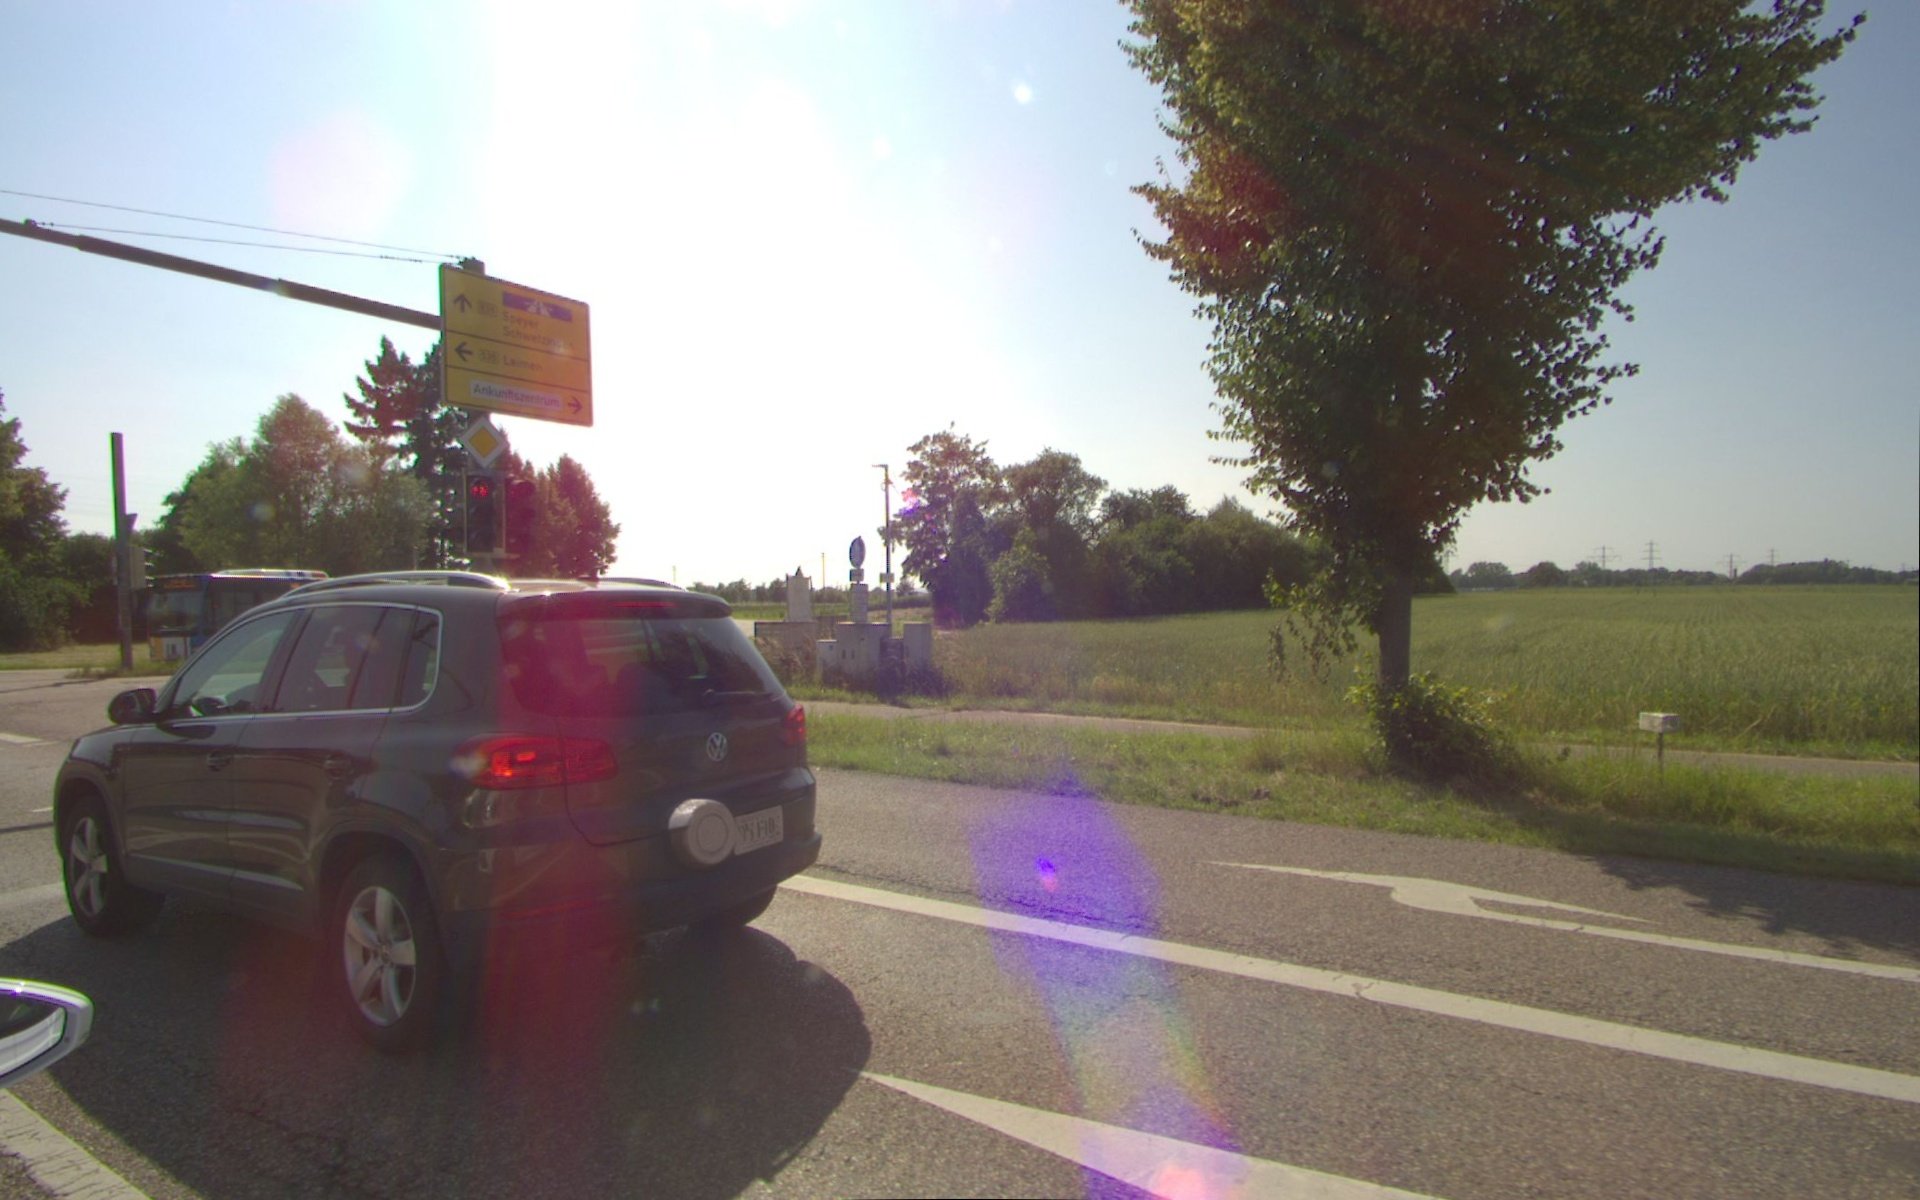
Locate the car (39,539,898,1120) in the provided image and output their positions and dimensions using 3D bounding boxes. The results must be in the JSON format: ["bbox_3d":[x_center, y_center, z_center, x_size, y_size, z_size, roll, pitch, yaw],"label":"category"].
[{"bbox_3d":[-2.459,0.711,4.732,4.086,1.677,1.753,-1,-1,32],"label":"car"}]

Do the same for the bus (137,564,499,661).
[{"bbox_3d":[-22.364,0.338,36.355,2.889,2.916,11.955,-1,1,17],"label":"bus"}]
